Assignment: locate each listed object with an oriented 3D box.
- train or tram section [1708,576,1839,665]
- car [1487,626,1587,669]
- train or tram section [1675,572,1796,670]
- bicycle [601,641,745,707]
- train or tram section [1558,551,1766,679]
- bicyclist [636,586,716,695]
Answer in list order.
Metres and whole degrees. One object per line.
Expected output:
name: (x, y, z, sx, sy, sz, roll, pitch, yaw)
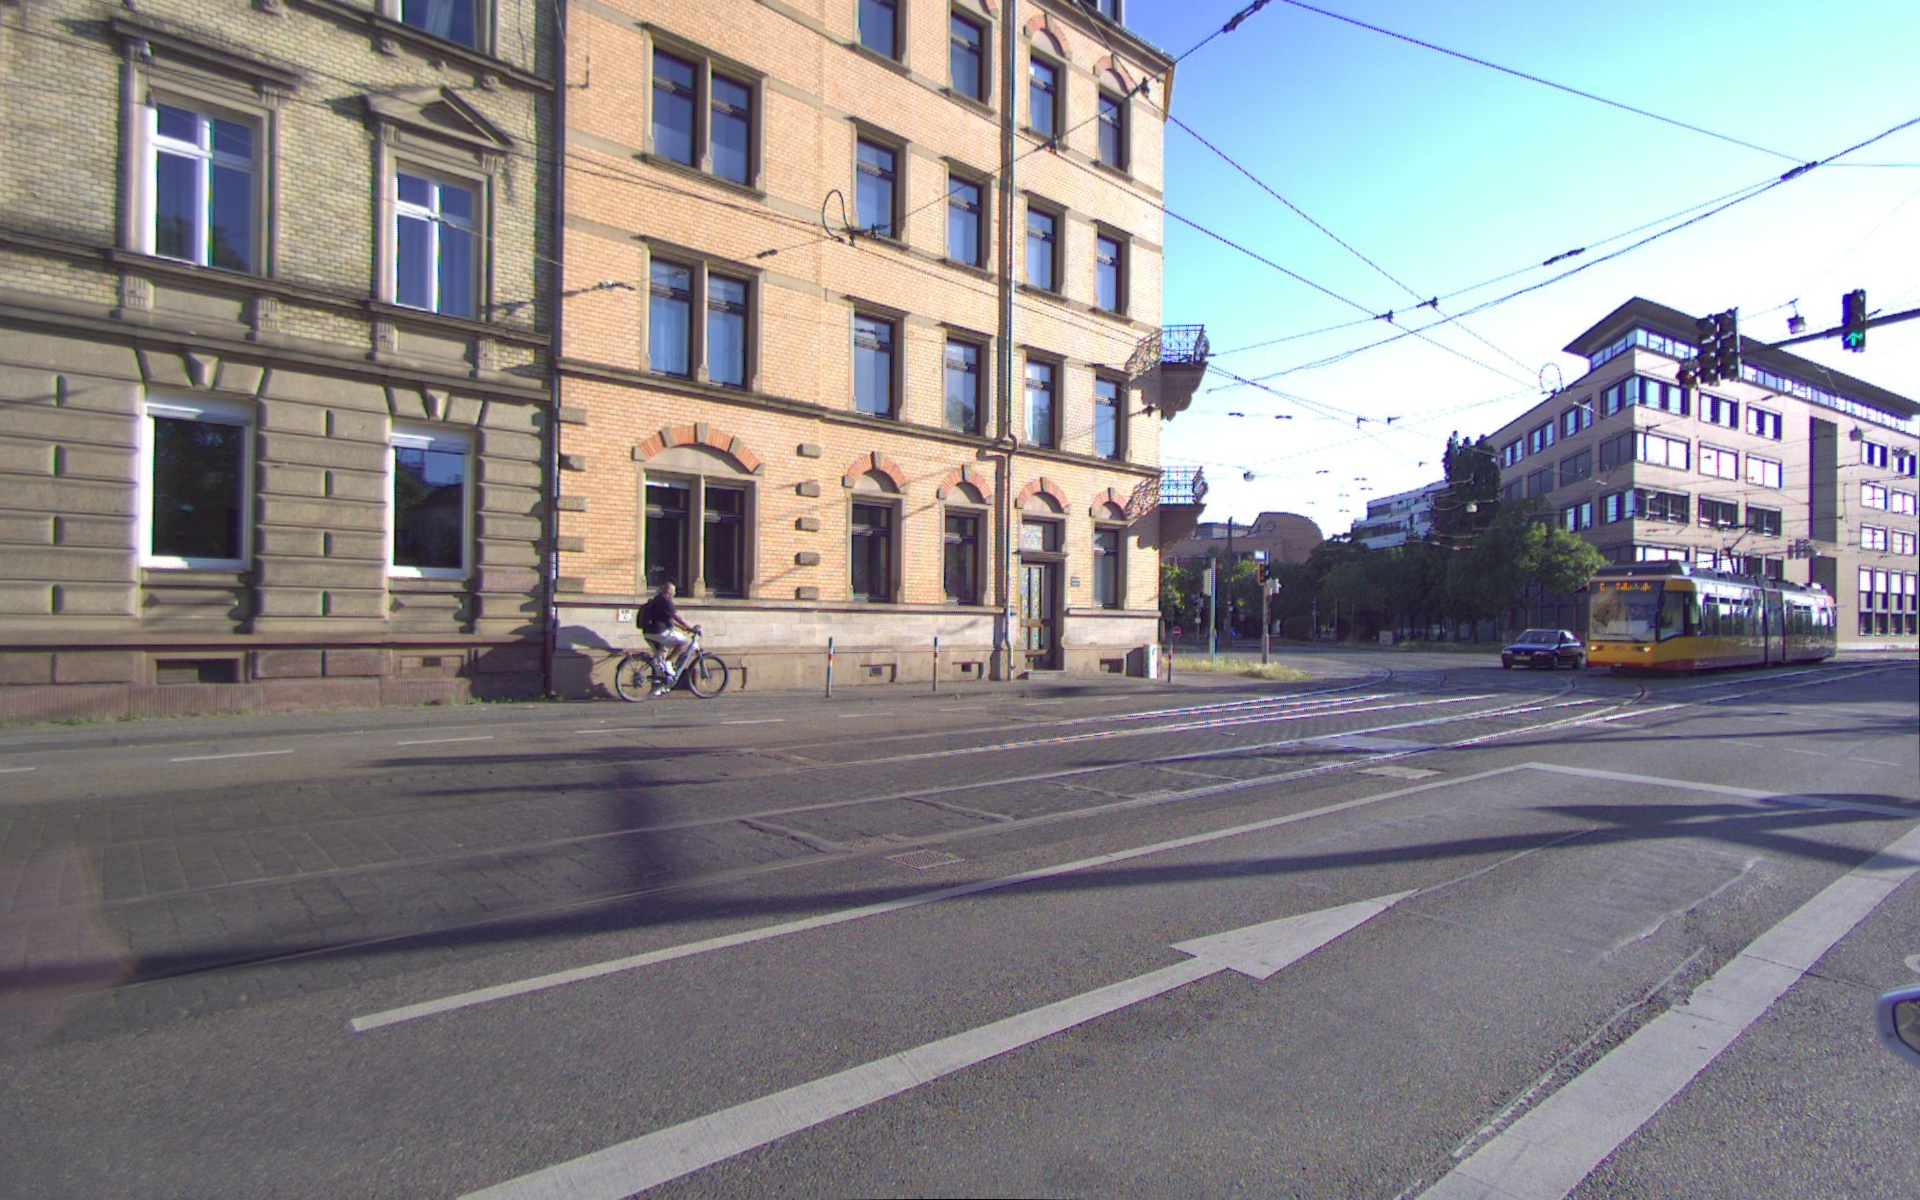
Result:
train or tram section: (36.470, 0.959, 44.805, 11.212, 3.554, 2.835, 2, -2, -42)
car: (20.169, 1.631, 35.033, 4.130, 1.398, 1.793, 2, -2, -41)
train or tram section: (30.391, 0.831, 39.317, 5.263, 3.554, 2.835, 2, -2, -42)
bicycle: (-4.434, 1.120, 15.620, 2.071, 0.952, 0.641, 2, -2, -40)
train or tram section: (23.604, 0.588, 33.294, 12.917, 3.554, 2.835, 2, -2, -42)
bicyclist: (-4.418, 0.625, 15.632, 1.027, 1.634, 0.629, 2, -1, -40)
